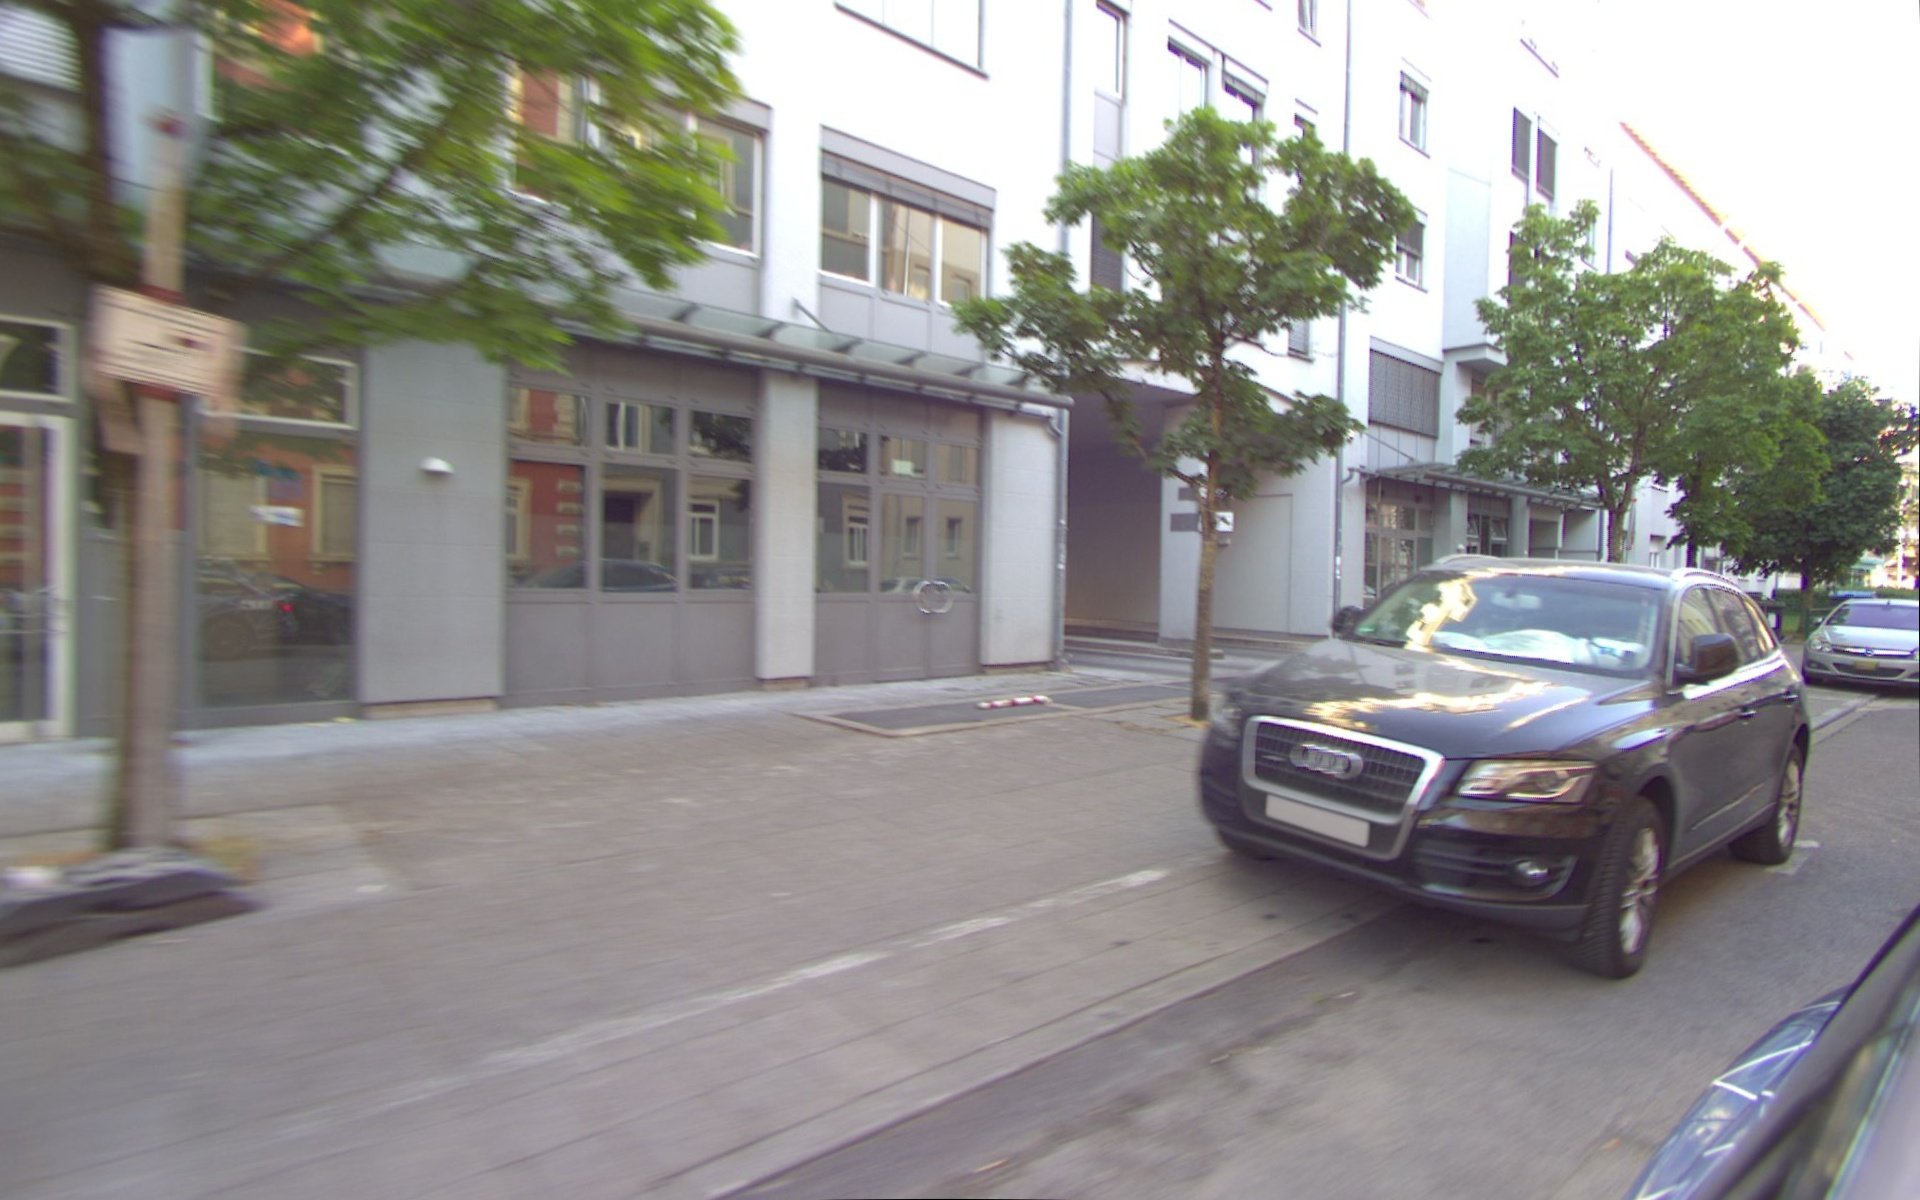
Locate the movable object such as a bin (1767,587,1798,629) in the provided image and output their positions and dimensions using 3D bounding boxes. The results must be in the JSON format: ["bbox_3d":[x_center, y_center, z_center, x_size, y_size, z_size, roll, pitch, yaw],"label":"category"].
[{"bbox_3d":[22.173,0.202,27.272,0.615,1.084,0.529,0,3,-41],"label":"movable object such as a bin"}]

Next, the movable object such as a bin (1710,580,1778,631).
[{"bbox_3d":[21.833,0.123,28.182,1.119,1.337,1.264,-1,3,-41],"label":"movable object such as a bin"}]

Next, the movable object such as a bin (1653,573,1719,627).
[{"bbox_3d":[20.804,-0.018,29.008,1.119,1.454,1.264,-1,3,-41],"label":"movable object such as a bin"}]

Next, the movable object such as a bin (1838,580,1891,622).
[{"bbox_3d":[33.073,0.015,37.005,1.202,1.454,1.287,-1,3,-41],"label":"movable object such as a bin"}]

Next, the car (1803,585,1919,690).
[{"bbox_3d":[15.127,0.521,16.248,4.270,1.446,1.767,-1,4,-41],"label":"car"}]

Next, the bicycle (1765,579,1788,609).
[{"bbox_3d":[31.264,-0.237,38.749,0.599,1.104,1.716,3,3,38],"label":"bicycle"}]

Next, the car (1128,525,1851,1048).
[{"bbox_3d":[3.031,0.507,5.313,4.357,1.642,1.889,-1,4,-41],"label":"car"}]

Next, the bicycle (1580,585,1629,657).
[{"bbox_3d":[11.454,0.340,17.961,0.519,1.182,1.716,3,3,38],"label":"bicycle"}]
